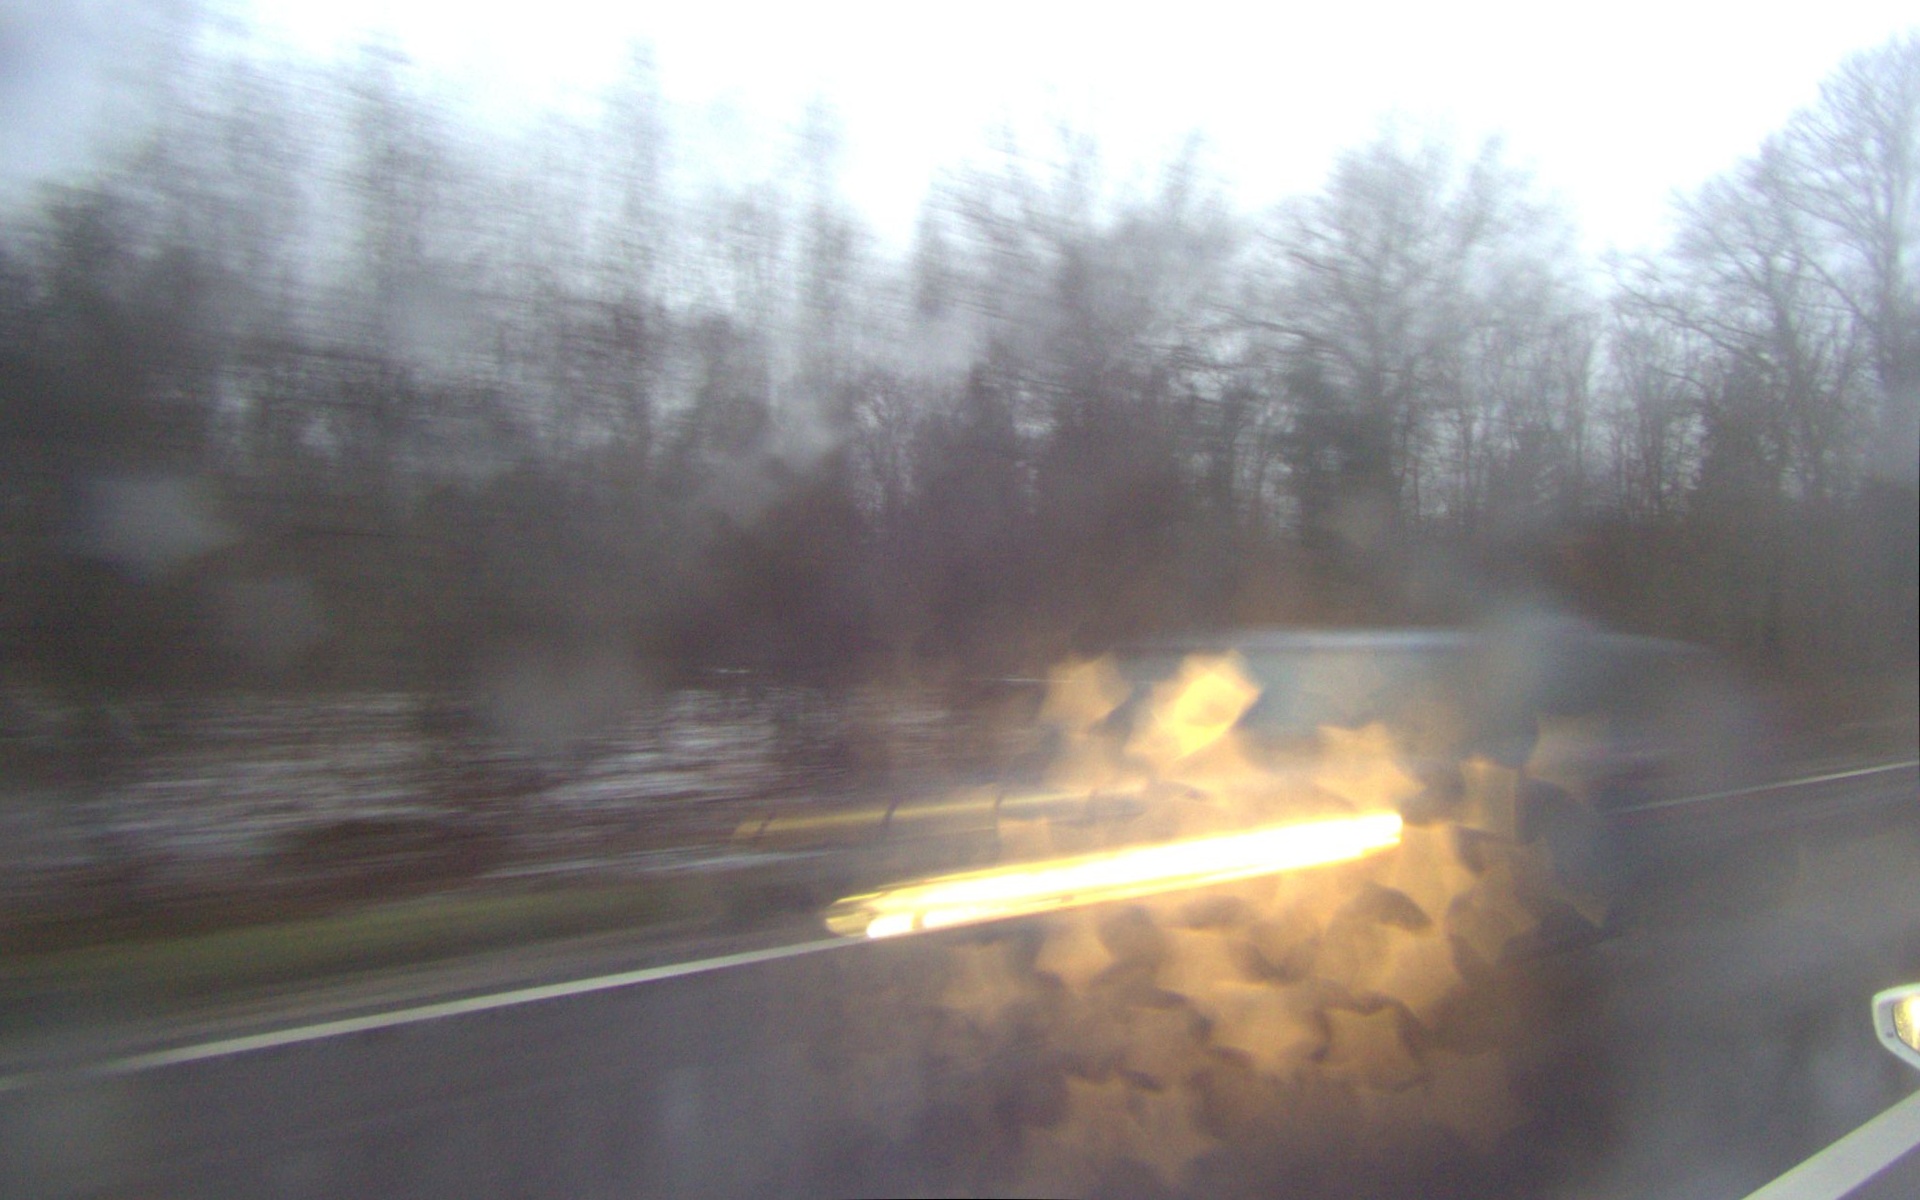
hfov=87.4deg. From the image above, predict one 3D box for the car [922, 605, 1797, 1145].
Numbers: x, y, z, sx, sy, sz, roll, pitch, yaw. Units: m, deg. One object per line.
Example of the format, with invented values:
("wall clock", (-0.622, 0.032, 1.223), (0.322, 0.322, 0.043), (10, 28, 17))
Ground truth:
("car", (1.893, 0.843, 4.504), (3.848, 1.515, 1.592), (1, -3, -30))
